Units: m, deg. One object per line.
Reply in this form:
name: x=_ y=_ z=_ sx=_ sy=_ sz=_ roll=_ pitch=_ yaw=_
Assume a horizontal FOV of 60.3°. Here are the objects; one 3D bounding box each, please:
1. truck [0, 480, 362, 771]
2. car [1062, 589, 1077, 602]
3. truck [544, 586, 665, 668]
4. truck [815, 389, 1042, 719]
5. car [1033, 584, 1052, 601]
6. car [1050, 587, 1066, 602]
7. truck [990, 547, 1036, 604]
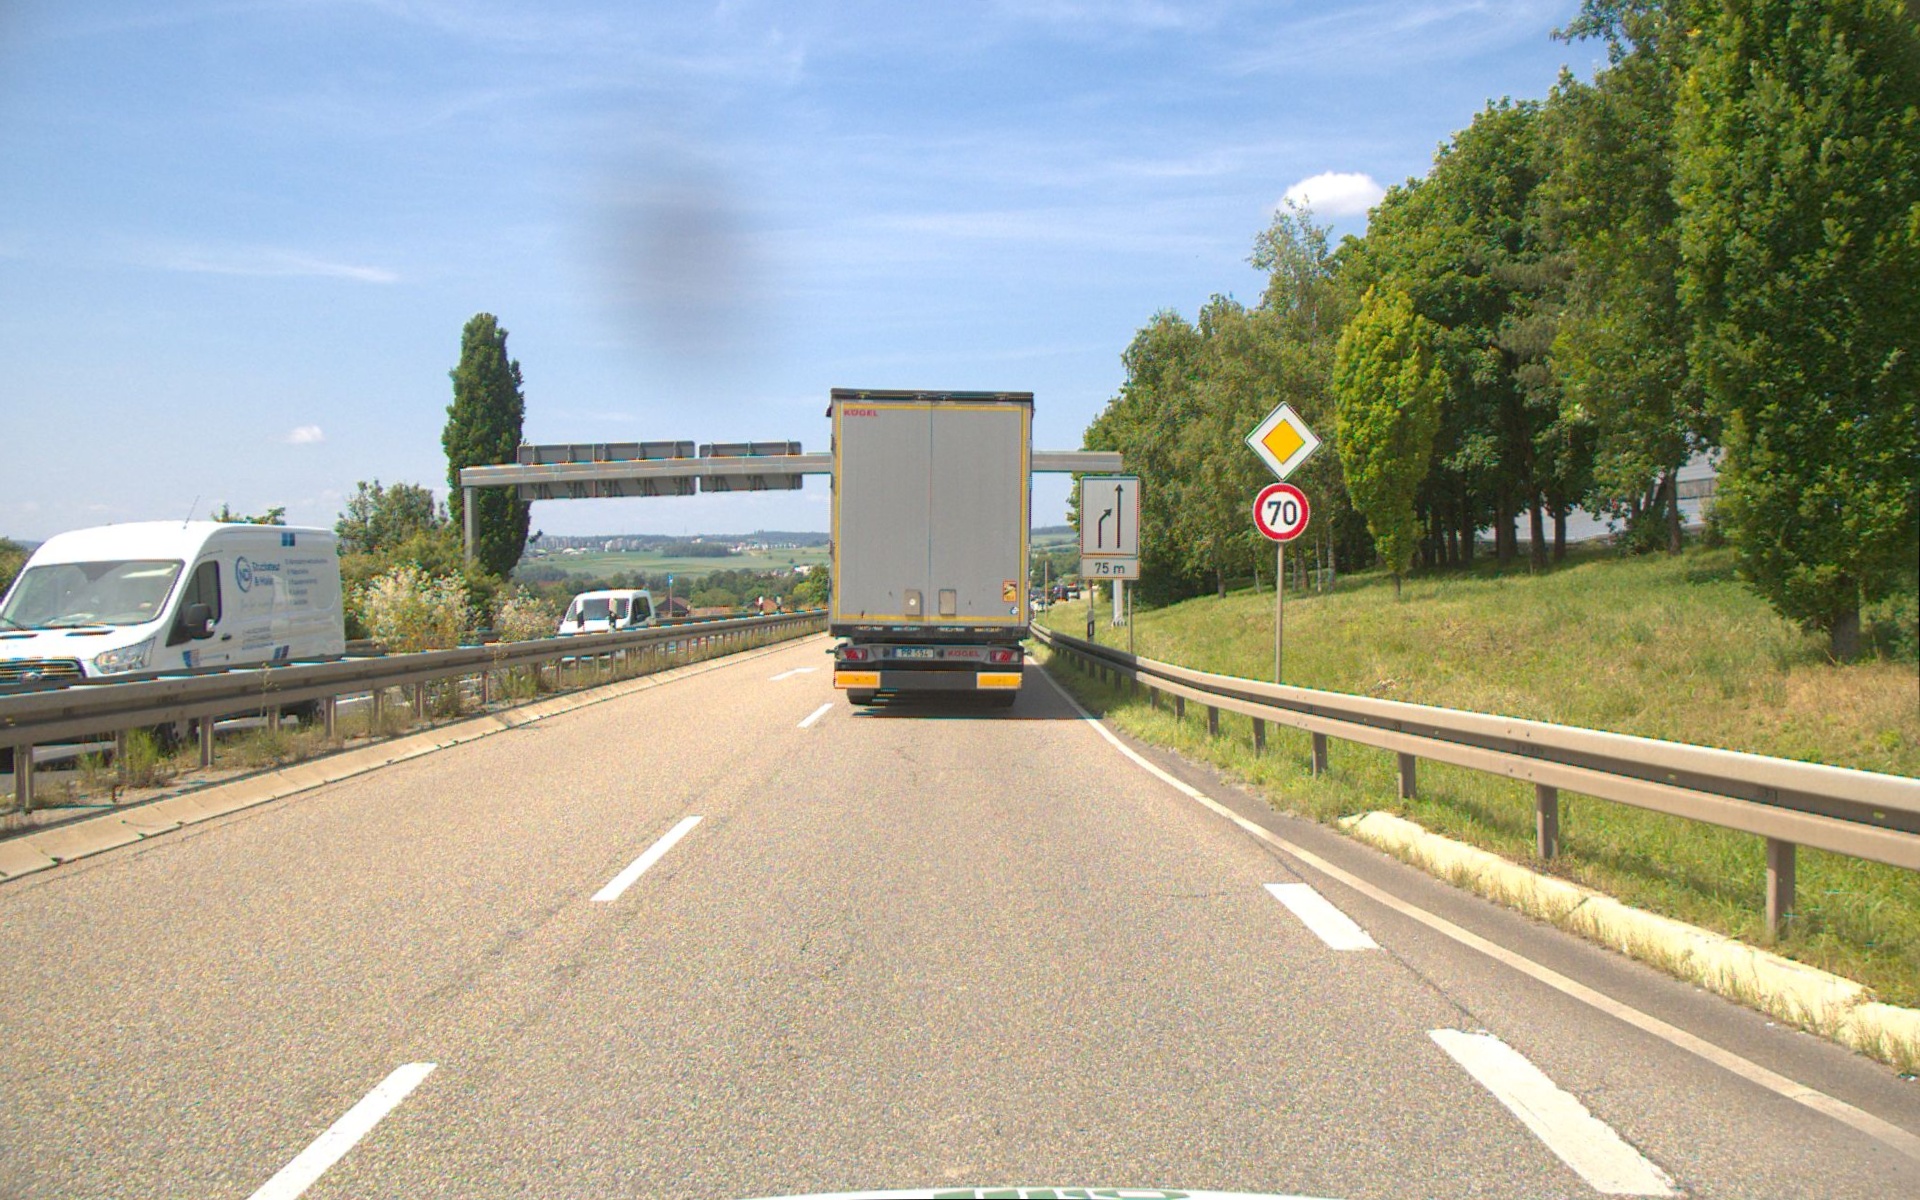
truck: x=-8.812 y=0.246 z=18.519 sx=1.999 sy=2.666 sz=6.019 roll=-3 pitch=0 yaw=-1
car: x=14.580 y=-0.636 z=220.419 sx=1.750 sy=1.717 sz=4.000 roll=0 pitch=-1 yaw=0
truck: x=-8.516 y=0.643 z=40.050 sx=1.811 sy=1.779 sz=4.537 roll=-3 pitch=-1 yaw=1
truck: x=-0.387 y=-0.580 z=25.761 sx=2.742 sy=3.998 sz=11.341 roll=0 pitch=0 yaw=0
car: x=8.304 y=-0.742 z=166.124 sx=1.750 sy=1.717 sz=4.000 roll=0 pitch=-1 yaw=0
car: x=11.942 y=-0.667 z=201.080 sx=1.750 sy=1.717 sz=4.000 roll=0 pitch=-1 yaw=0
truck: x=3.868 y=-1.655 z=118.923 sx=2.599 sy=3.830 sz=10.168 roll=0 pitch=-1 yaw=6
